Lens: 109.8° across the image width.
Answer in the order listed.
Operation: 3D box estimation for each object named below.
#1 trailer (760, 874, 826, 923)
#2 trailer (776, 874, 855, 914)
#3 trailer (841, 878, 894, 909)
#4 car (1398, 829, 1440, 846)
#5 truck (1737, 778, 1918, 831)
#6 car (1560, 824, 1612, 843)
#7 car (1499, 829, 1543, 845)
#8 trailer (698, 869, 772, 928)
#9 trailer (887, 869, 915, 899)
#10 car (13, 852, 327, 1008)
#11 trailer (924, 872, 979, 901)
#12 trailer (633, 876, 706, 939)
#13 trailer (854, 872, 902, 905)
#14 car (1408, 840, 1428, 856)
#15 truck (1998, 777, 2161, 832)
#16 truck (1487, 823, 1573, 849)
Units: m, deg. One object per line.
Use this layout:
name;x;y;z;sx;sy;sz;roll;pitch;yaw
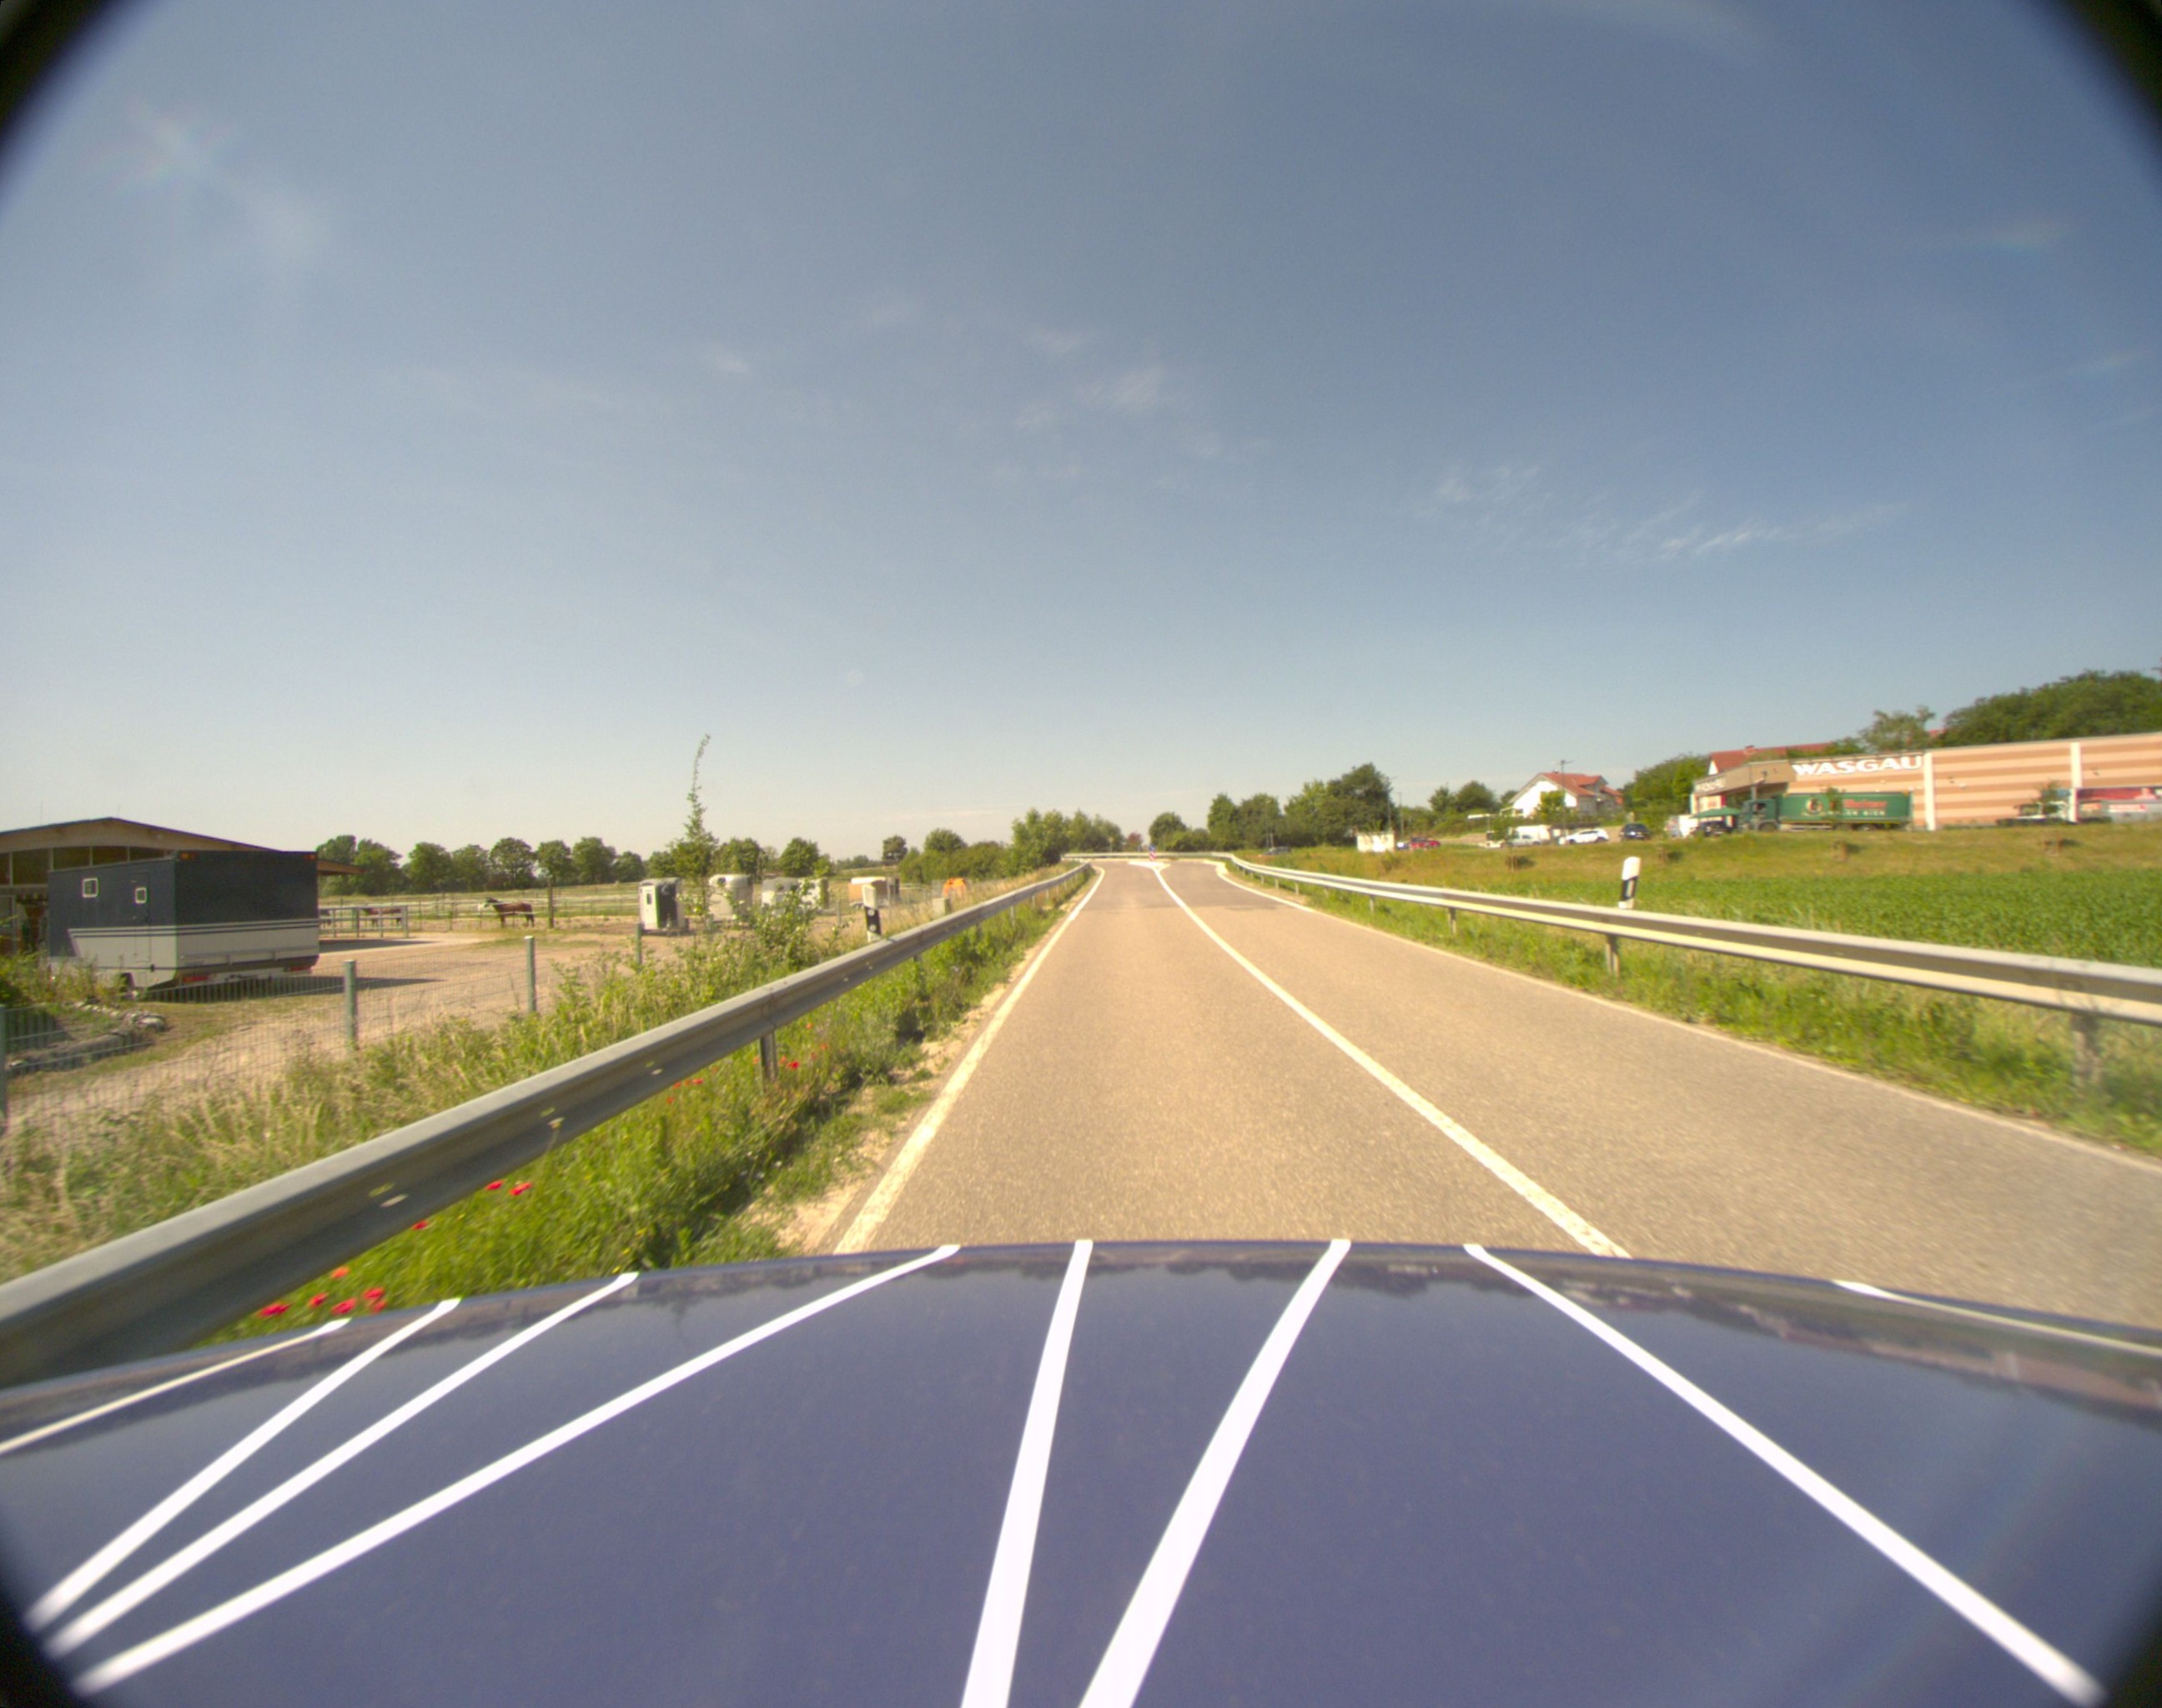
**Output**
trailer;-16.318;2.479;42.925;1.830;2.612;4.541;2;-4;-44
trailer;-18.879;2.845;54.001;5.176;2.672;2.212;-3;-1;25
trailer;-18.371;3.437;65.450;4.083;2.376;2.010;-5;-1;32
car;39.869;-1.963;89.645;4.322;1.694;2.003;-3;2;28
truck;59.696;-3.891;61.199;9.917;3.458;2.883;-3;2;31
car;53.146;-2.121;80.074;4.323;1.694;2.003;-3;2;26
car;52.039;-2.035;89.931;4.323;1.589;2.003;-3;2;25
trailer;-18.342;2.298;40.177;2.239;2.847;5.031;-1;-1;-40
trailer;-17.970;3.014;75.666;2.002;2.788;3.373;-5;-1;-22
car;-24.930;1.992;20.724;8.977;3.631;2.784;-3;0;22
trailer;-12.777;3.189;75.564;2.576;2.366;6.059;-3;1;21
trailer;-19.650;2.453;36.222;2.179;2.655;4.468;-1;1;-40
trailer;-18.486;3.130;69.188;3.413;2.789;2.168;-3;1;23
car;31.495;-0.594;71.020;1.620;1.281;3.679;-3;1;24
truck;75.855;-3.715;56.811;8.861;3.544;2.882;-3;2;27
truck;66.504;-2.618;112.754;10.704;3.173;2.448;-3;2;12
